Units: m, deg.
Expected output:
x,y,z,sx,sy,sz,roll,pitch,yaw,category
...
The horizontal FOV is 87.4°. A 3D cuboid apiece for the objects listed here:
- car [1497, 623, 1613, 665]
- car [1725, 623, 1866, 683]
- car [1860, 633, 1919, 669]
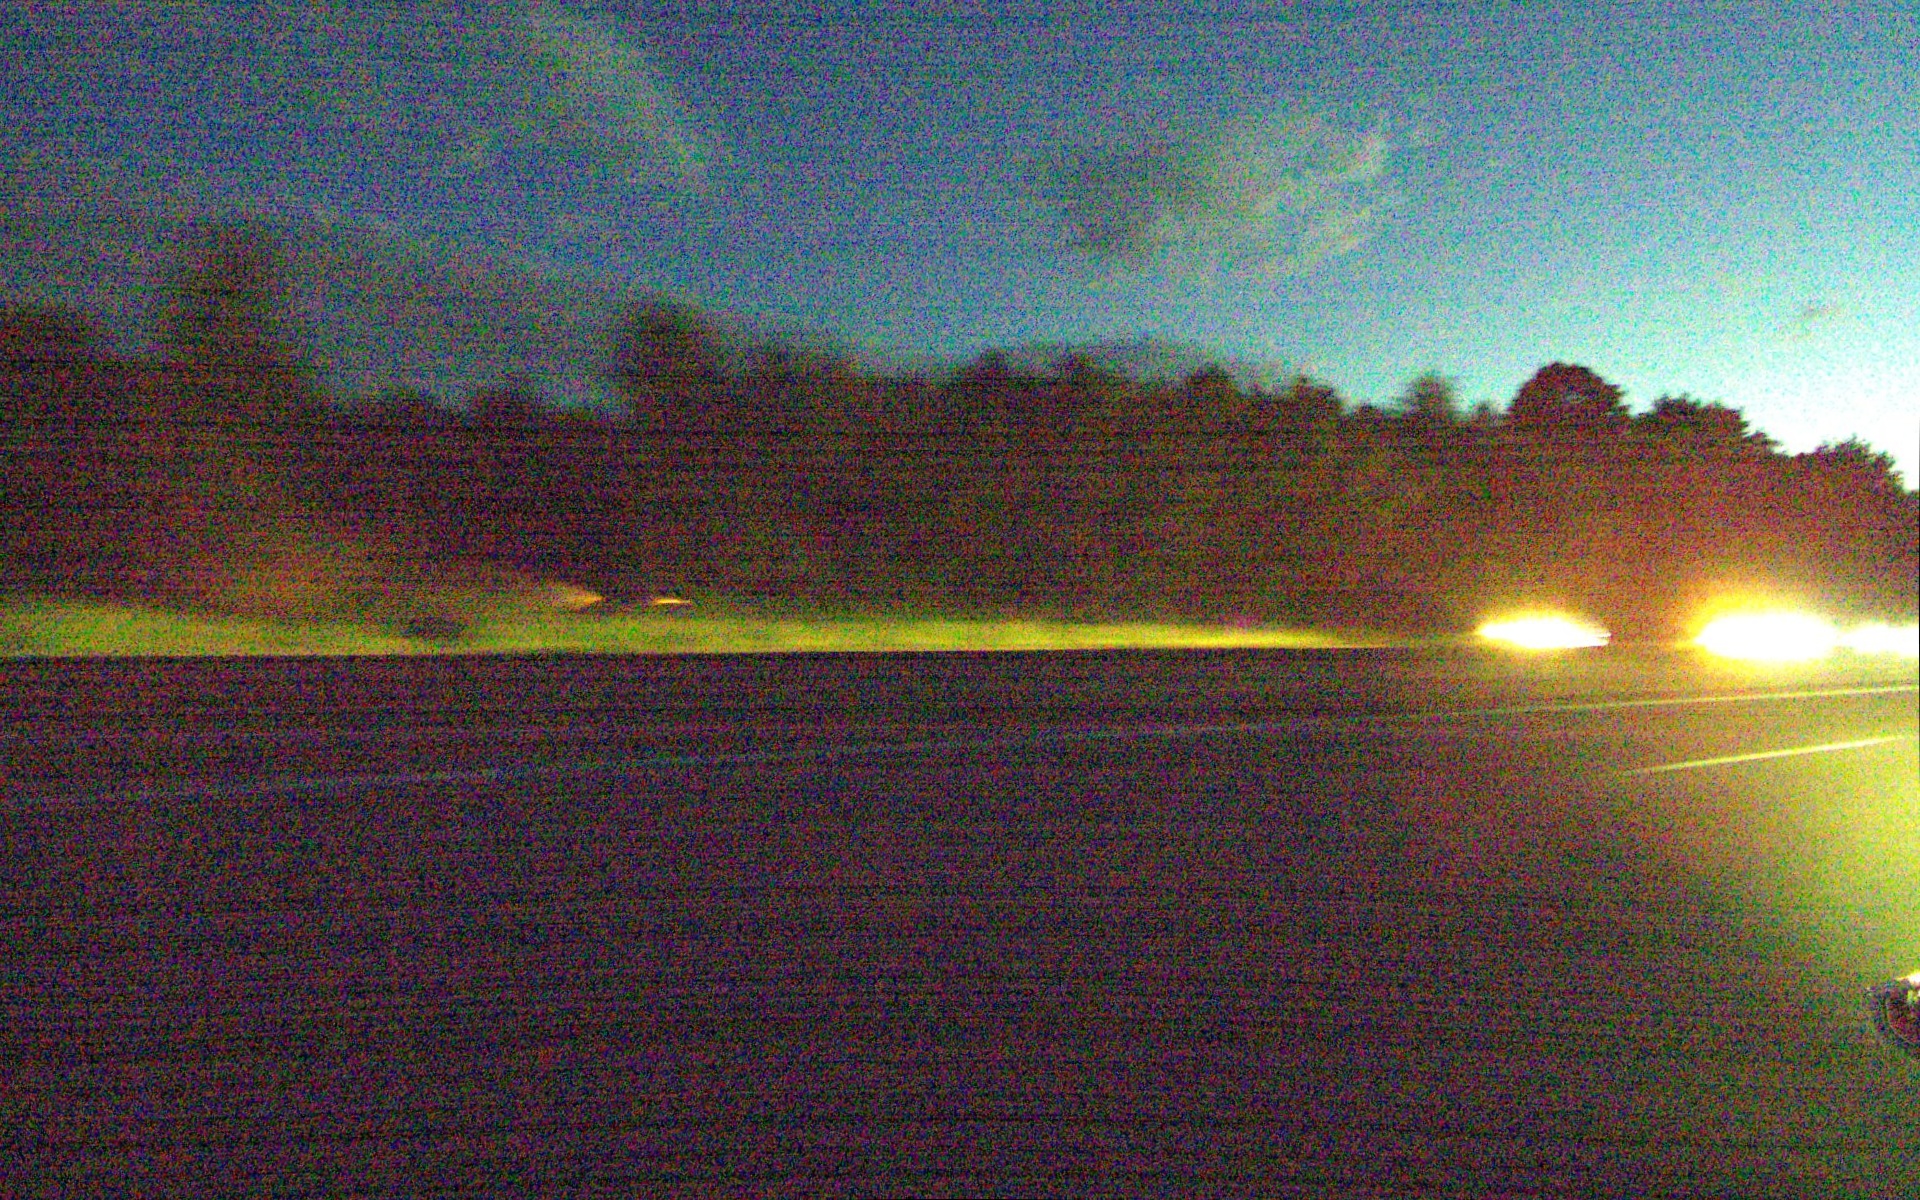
x,y,z,sx,sy,sz,roll,pitch,yaw,category
23.334,1.718,39.369,4.347,1.528,1.985,2,-1,-29,car
27.461,1.732,32.993,4.622,1.814,1.985,2,-1,-28,car
43.640,2.328,46.210,4.873,1.500,1.983,2,-1,-31,car
